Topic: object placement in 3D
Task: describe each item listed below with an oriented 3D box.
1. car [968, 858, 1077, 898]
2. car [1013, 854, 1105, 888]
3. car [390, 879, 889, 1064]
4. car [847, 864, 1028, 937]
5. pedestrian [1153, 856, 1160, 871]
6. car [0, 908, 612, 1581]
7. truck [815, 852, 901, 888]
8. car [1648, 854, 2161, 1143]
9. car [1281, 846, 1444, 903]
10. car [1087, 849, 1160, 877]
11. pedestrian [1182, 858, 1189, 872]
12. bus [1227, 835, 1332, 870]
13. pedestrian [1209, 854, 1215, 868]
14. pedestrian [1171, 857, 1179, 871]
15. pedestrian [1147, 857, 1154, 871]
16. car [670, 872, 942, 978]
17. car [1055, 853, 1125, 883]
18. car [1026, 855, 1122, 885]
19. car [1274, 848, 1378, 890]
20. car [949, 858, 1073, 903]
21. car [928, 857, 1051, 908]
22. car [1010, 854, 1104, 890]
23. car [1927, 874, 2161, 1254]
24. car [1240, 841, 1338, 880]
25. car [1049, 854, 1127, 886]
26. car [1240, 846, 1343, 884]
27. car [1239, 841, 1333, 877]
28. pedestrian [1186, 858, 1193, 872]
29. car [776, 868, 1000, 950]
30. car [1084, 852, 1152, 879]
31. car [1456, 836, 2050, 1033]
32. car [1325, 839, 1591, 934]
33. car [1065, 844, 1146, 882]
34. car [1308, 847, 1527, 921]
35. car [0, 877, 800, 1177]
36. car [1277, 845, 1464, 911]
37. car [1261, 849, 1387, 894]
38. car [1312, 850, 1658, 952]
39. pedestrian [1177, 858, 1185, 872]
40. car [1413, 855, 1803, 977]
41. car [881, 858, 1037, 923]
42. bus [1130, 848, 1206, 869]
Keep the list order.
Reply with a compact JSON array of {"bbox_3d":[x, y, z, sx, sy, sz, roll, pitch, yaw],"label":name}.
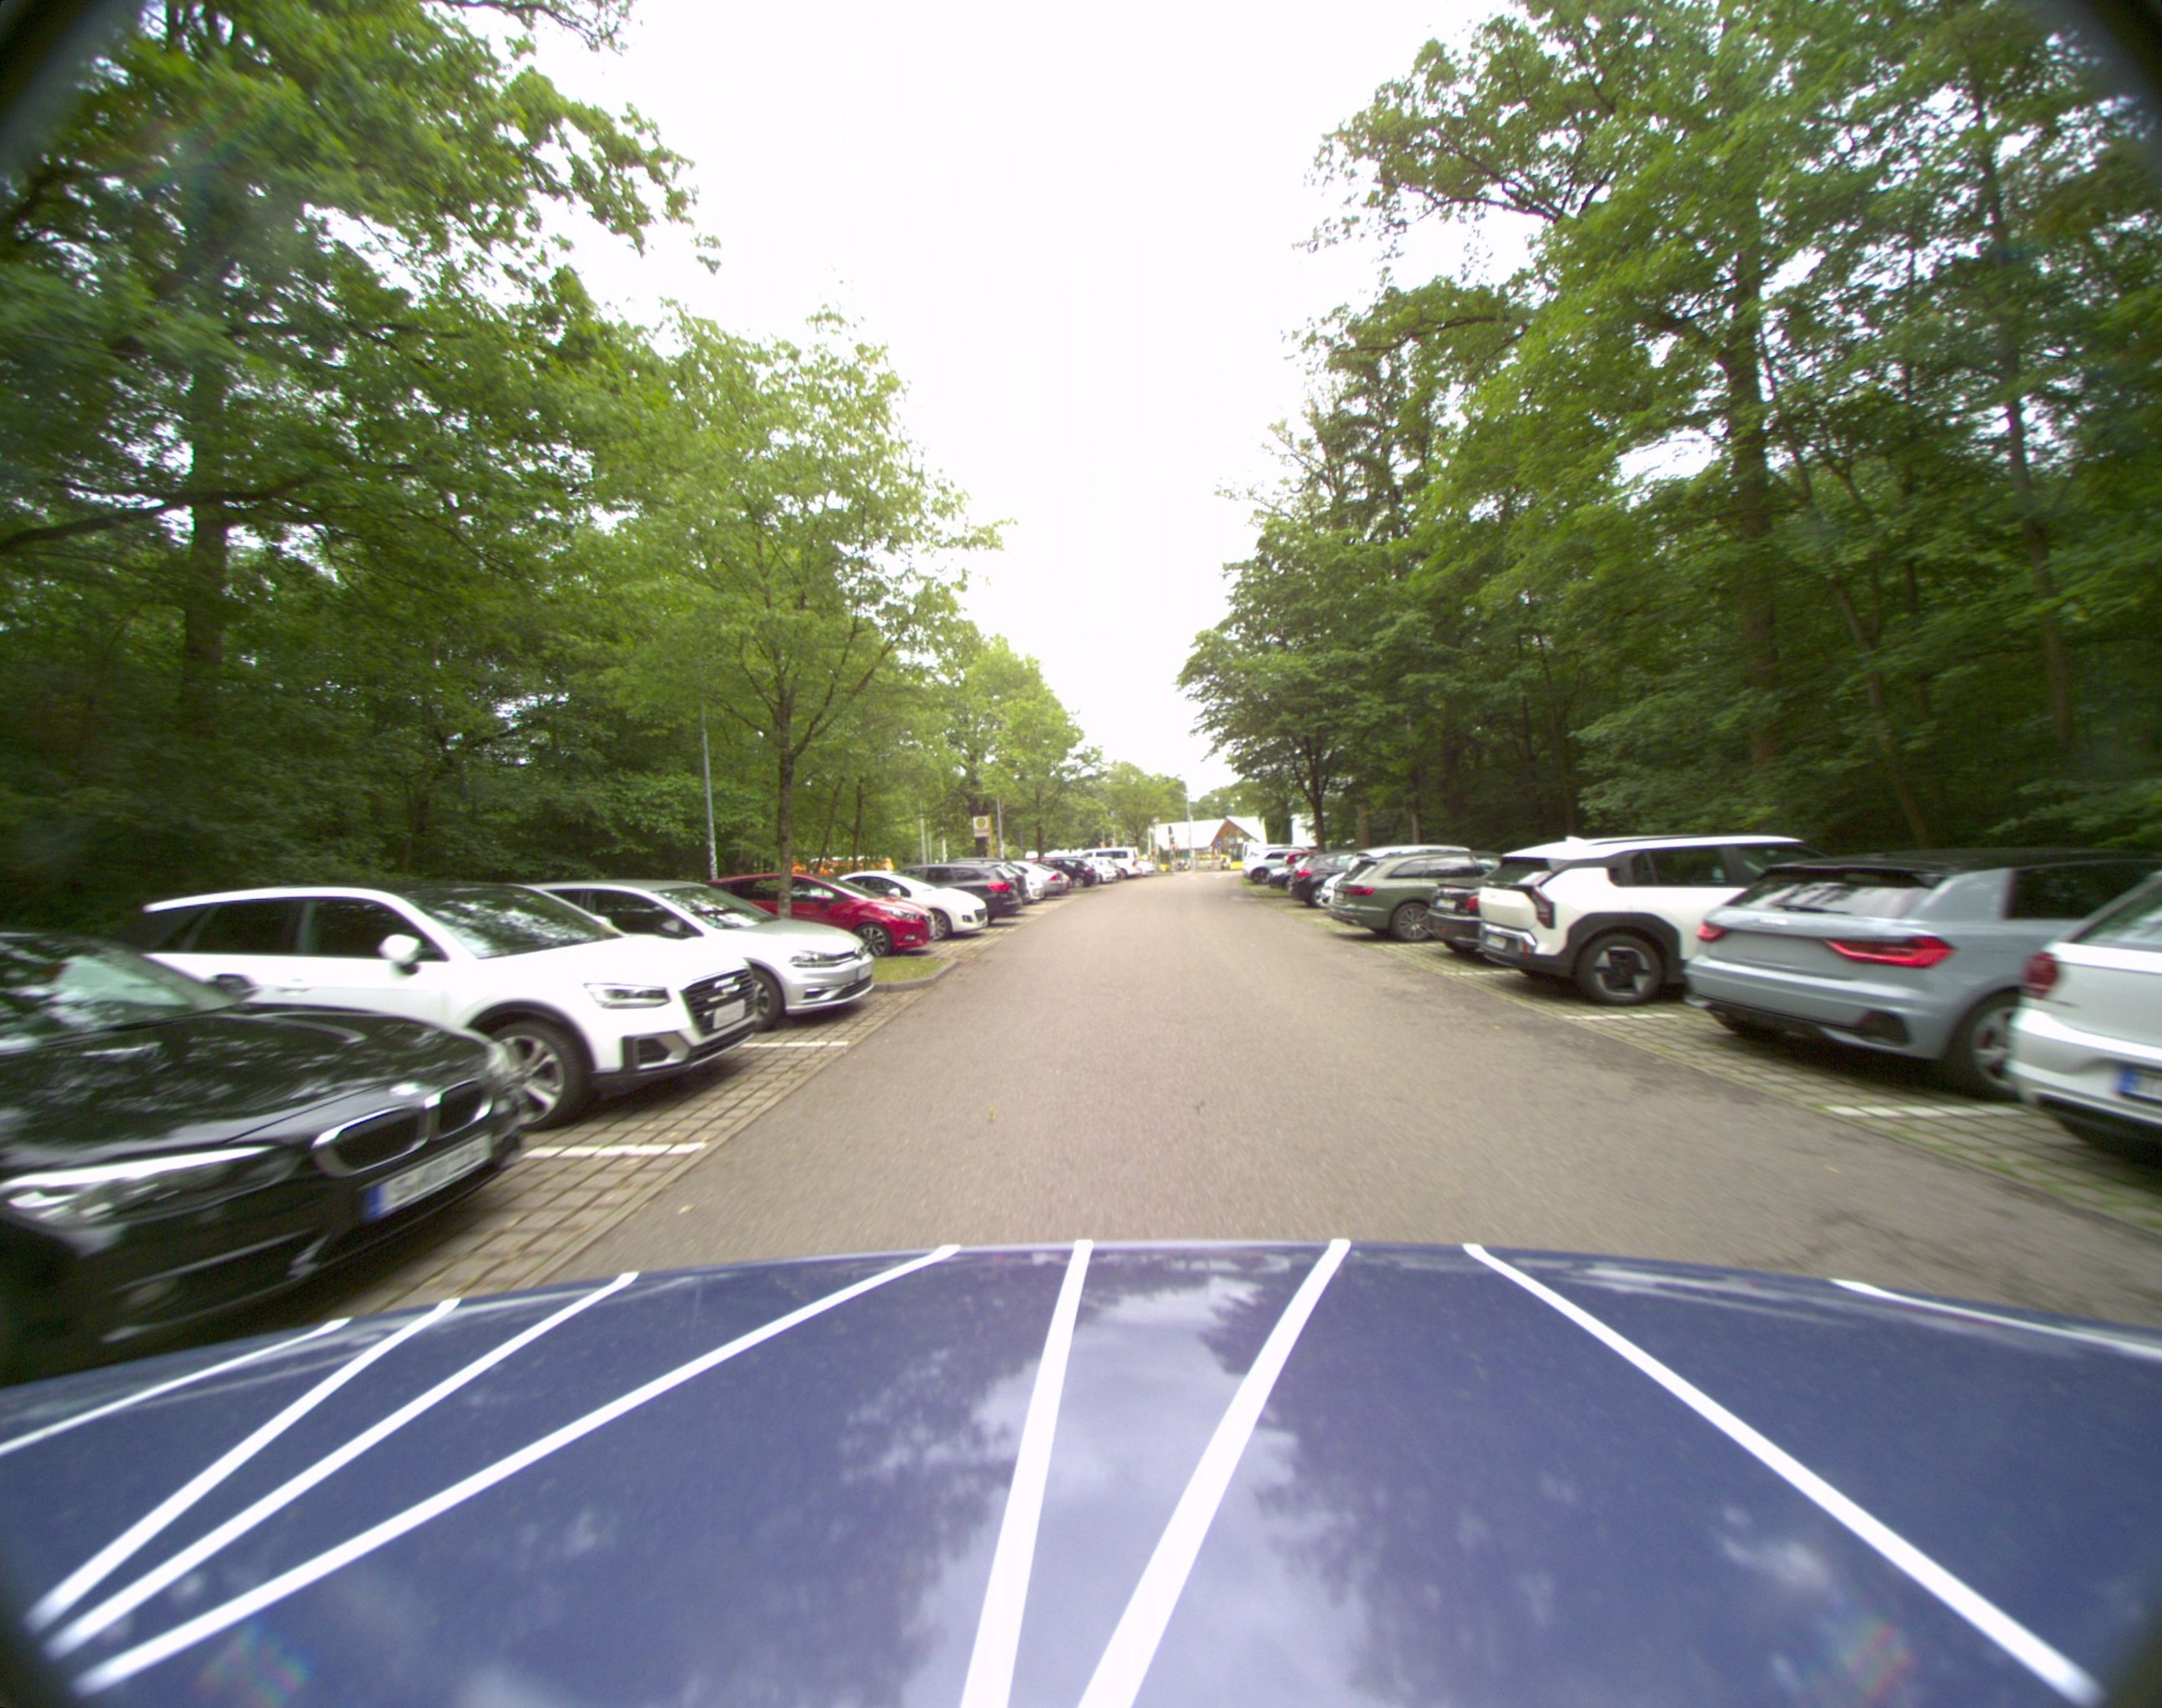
[{"bbox_3d":[-2.295,0.943,30.484,3.995,1.441,1.942,-2,0,7],"label":"car"},{"bbox_3d":[-1.067,0.845,38.024,4.235,1.472,1.921,-2,0,11],"label":"car"},{"bbox_3d":[-4.235,1.096,7.829,3.986,1.475,1.884,-2,0,0],"label":"car"},{"bbox_3d":[-3.244,1.042,17.660,3.777,1.472,1.774,-2,0,2],"label":"car"},{"bbox_3d":[9.282,1.182,93.505,0.736,1.746,0.669,-3,-2,2],"label":"pedestrian"},{"bbox_3d":[-4.426,1.088,2.760,4.198,1.503,1.893,-2,0,-1],"label":"car"},{"bbox_3d":[-23.600,1.684,80.552,8.235,3.493,2.871,-2,-1,10],"label":"truck"},{"bbox_3d":[6.326,0.760,4.981,3.812,1.412,1.897,-2,0,-1],"label":"car"},{"bbox_3d":[8.297,0.595,22.688,4.241,1.465,1.721,-2,1,7],"label":"car"},{"bbox_3d":[2.964,0.619,52.772,4.525,1.683,2.168,-2,0,20],"label":"car"},{"bbox_3d":[13.409,1.430,97.710,0.600,1.746,0.667,-3,-2,-20],"label":"pedestrian"},{"bbox_3d":[20.635,-0.153,78.763,10.525,3.139,2.809,-2,-2,-18],"label":"bus"},{"bbox_3d":[16.435,0.900,95.226,0.655,1.746,0.669,-3,-2,4],"label":"pedestrian"},{"bbox_3d":[12.192,1.246,98.503,0.732,1.746,0.738,-5,-2,29],"label":"pedestrian"},{"bbox_3d":[8.548,1.231,93.409,0.736,1.746,0.669,-3,-2,4],"label":"pedestrian"},{"bbox_3d":[-4.336,1.095,12.523,3.805,1.432,1.870,-2,0,-5],"label":"car"},{"bbox_3d":[0.565,0.855,45.256,3.728,1.545,1.849,-4,-2,13],"label":"car"},{"bbox_3d":[-0.374,0.853,40.640,4.779,1.467,1.855,-2,-1,14],"label":"car"},{"bbox_3d":[9.365,0.574,29.331,3.613,1.465,1.675,-2,0,11],"label":"car"},{"bbox_3d":[-2.497,0.949,27.810,4.134,1.453,1.866,-2,1,9],"label":"car"},{"bbox_3d":[-3.009,0.932,25.476,3.709,1.502,1.752,-2,1,7],"label":"car"},{"bbox_3d":[-1.100,0.831,35.411,3.993,1.474,1.924,-2,0,11],"label":"car"},{"bbox_3d":[5.995,0.783,2.730,3.735,1.411,1.872,-2,0,2],"label":"car"},{"bbox_3d":[10.080,0.322,37.098,4.432,1.684,2.173,-2,0,13],"label":"car"},{"bbox_3d":[0.397,0.909,42.889,3.993,1.475,1.879,-4,1,13],"label":"car"},{"bbox_3d":[9.491,0.499,34.649,4.362,1.588,2.032,-2,1,12],"label":"car"},{"bbox_3d":[11.874,0.273,44.099,5.092,1.904,1.980,-2,0,16],"label":"car"},{"bbox_3d":[13.971,1.429,97.949,0.600,1.746,0.667,-3,-2,-20],"label":"pedestrian"},{"bbox_3d":[-3.795,1.069,15.370,3.941,1.402,1.879,-2,0,4],"label":"car"},{"bbox_3d":[2.441,0.779,50.311,4.001,1.546,1.950,-4,-1,21],"label":"car"},{"bbox_3d":[6.186,0.706,7.584,3.967,1.618,2.000,-1,0,11],"label":"car"},{"bbox_3d":[7.230,0.607,14.952,4.243,1.637,1.970,-2,0,2],"label":"car"},{"bbox_3d":[1.566,0.574,47.757,4.655,2.008,2.086,-4,-2,15],"label":"car"},{"bbox_3d":[7.576,0.658,17.433,4.242,1.524,1.763,-2,0,4],"label":"car"},{"bbox_3d":[-4.380,1.038,5.293,4.017,1.550,1.978,-2,0,4],"label":"car"},{"bbox_3d":[7.516,0.610,20.143,4.241,1.521,2.007,-2,0,8],"label":"car"},{"bbox_3d":[8.549,0.614,27.009,3.995,1.482,1.708,-1,0,7],"label":"car"},{"bbox_3d":[6.480,0.731,12.705,4.649,1.469,2.095,-2,0,4],"label":"car"},{"bbox_3d":[12.943,1.452,98.172,0.669,1.746,0.561,-2,-3,-34],"label":"pedestrian"},{"bbox_3d":[6.593,0.741,9.853,3.798,1.348,1.730,-2,0,3],"label":"car"},{"bbox_3d":[-3.260,0.969,20.853,3.775,1.580,1.950,-2,0,6],"label":"car"},{"bbox_3d":[16.863,0.791,145.603,3.969,3.461,18.616,-6,-3,43],"label":"bus"}]
